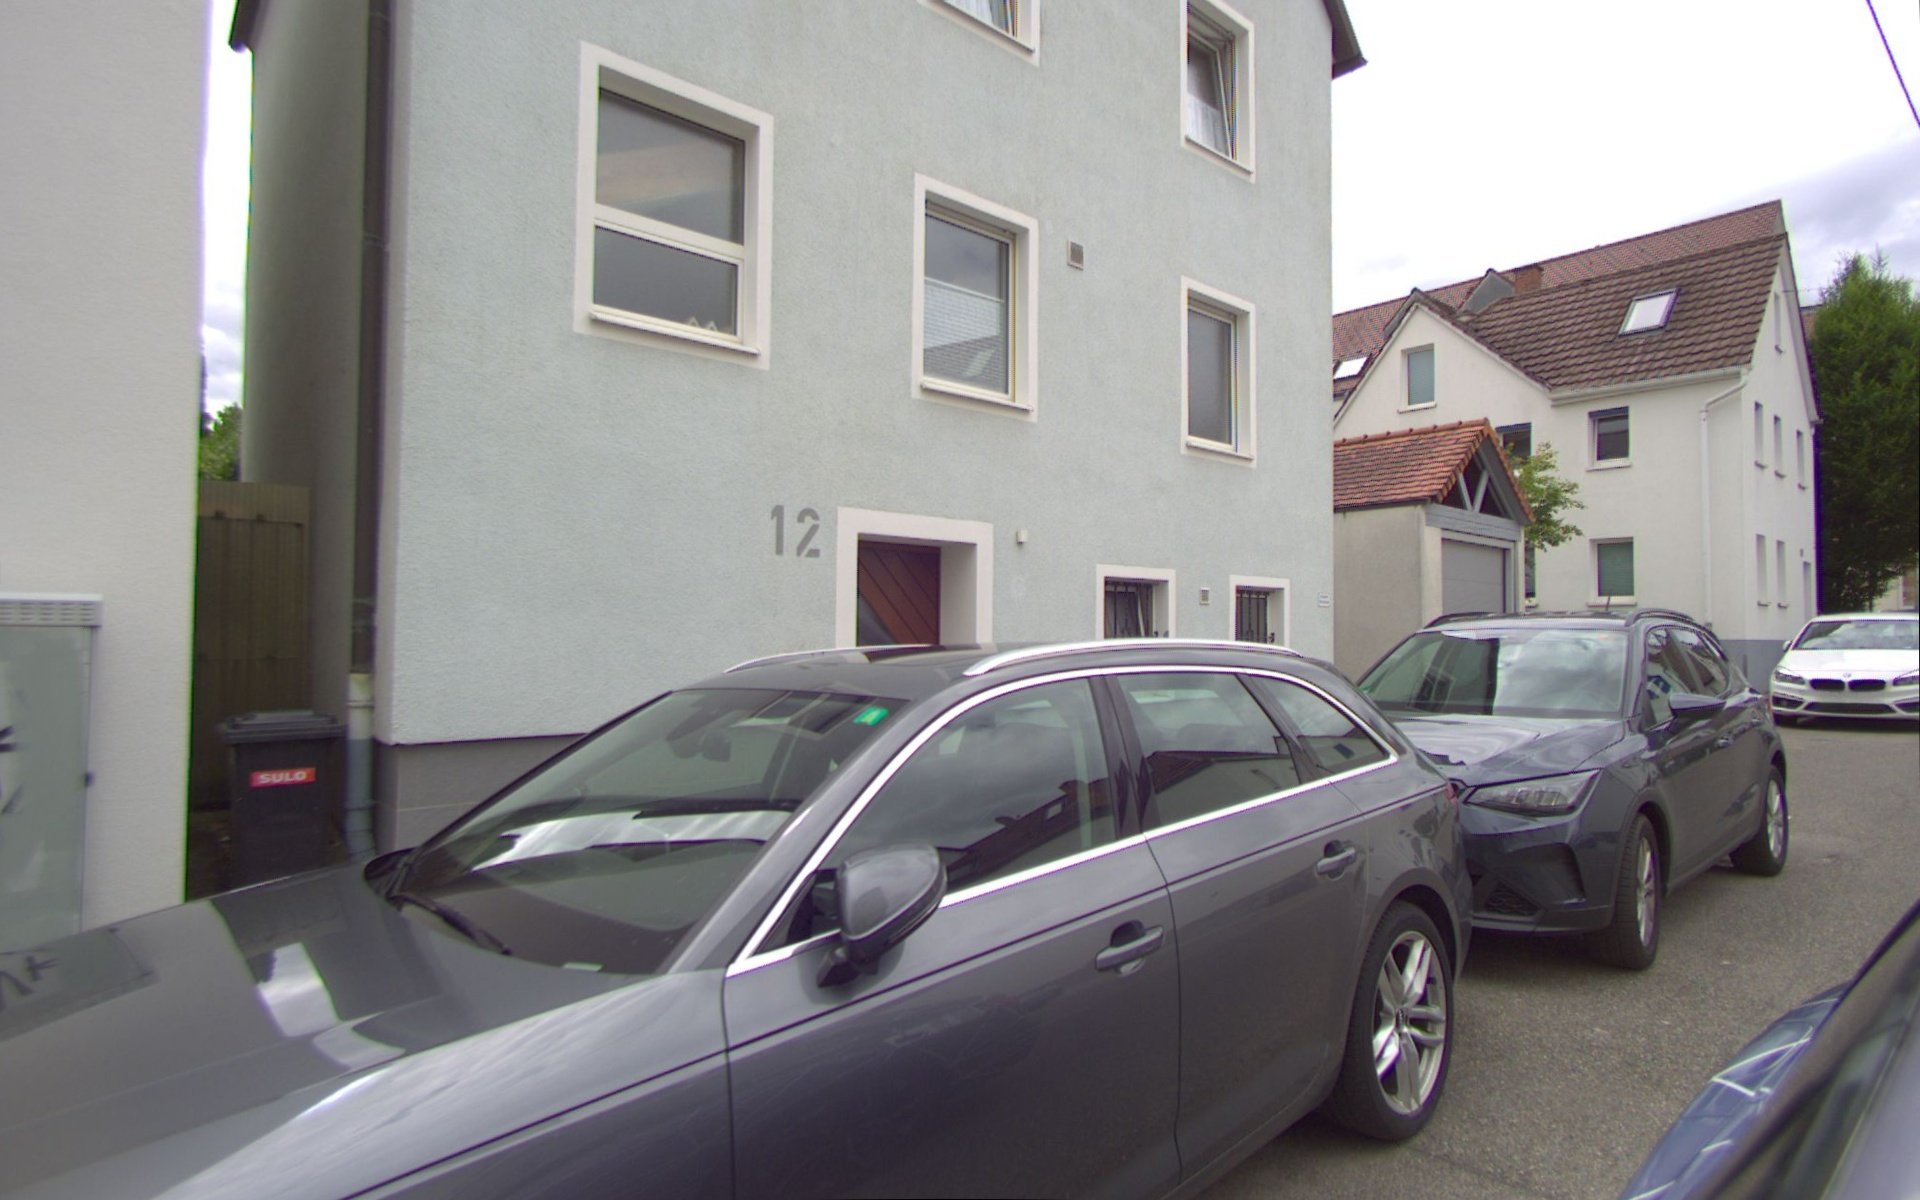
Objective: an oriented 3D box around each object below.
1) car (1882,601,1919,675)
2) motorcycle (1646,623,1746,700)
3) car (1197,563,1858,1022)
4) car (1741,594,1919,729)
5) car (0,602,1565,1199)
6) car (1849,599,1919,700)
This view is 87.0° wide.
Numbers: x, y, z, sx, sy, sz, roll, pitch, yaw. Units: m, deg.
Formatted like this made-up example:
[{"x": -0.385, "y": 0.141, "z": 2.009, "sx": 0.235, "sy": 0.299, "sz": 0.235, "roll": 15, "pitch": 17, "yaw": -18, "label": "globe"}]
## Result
[{"x": 21.824, "y": 0.781, "z": 22.025, "sx": 4.734, "sy": 1.527, "sz": 1.951, "roll": 0, "pitch": -2, "yaw": -40, "label": "car"}, {"x": 12.557, "y": 1.011, "z": 17.248, "sx": 2.131, "sy": 1.187, "sz": 0.820, "roll": 0, "pitch": 0, "yaw": -38, "label": "motorcycle"}, {"x": 3.463, "y": 0.729, "z": 5.763, "sx": 4.453, "sy": 1.649, "sz": 1.756, "roll": 0, "pitch": -3, "yaw": -40, "label": "car"}, {"x": 13.025, "y": 0.785, "z": 14.373, "sx": 4.791, "sy": 1.637, "sz": 1.997, "roll": 1, "pitch": -3, "yaw": -40, "label": "car"}, {"x": -0.191, "y": 0.746, "z": 2.769, "sx": 4.576, "sy": 1.427, "sz": 1.921, "roll": 0, "pitch": 1, "yaw": -42, "label": "car"}, {"x": 17.499, "y": 0.802, "z": 18.040, "sx": 4.816, "sy": 1.654, "sz": 1.865, "roll": 0, "pitch": -1, "yaw": -42, "label": "car"}]
